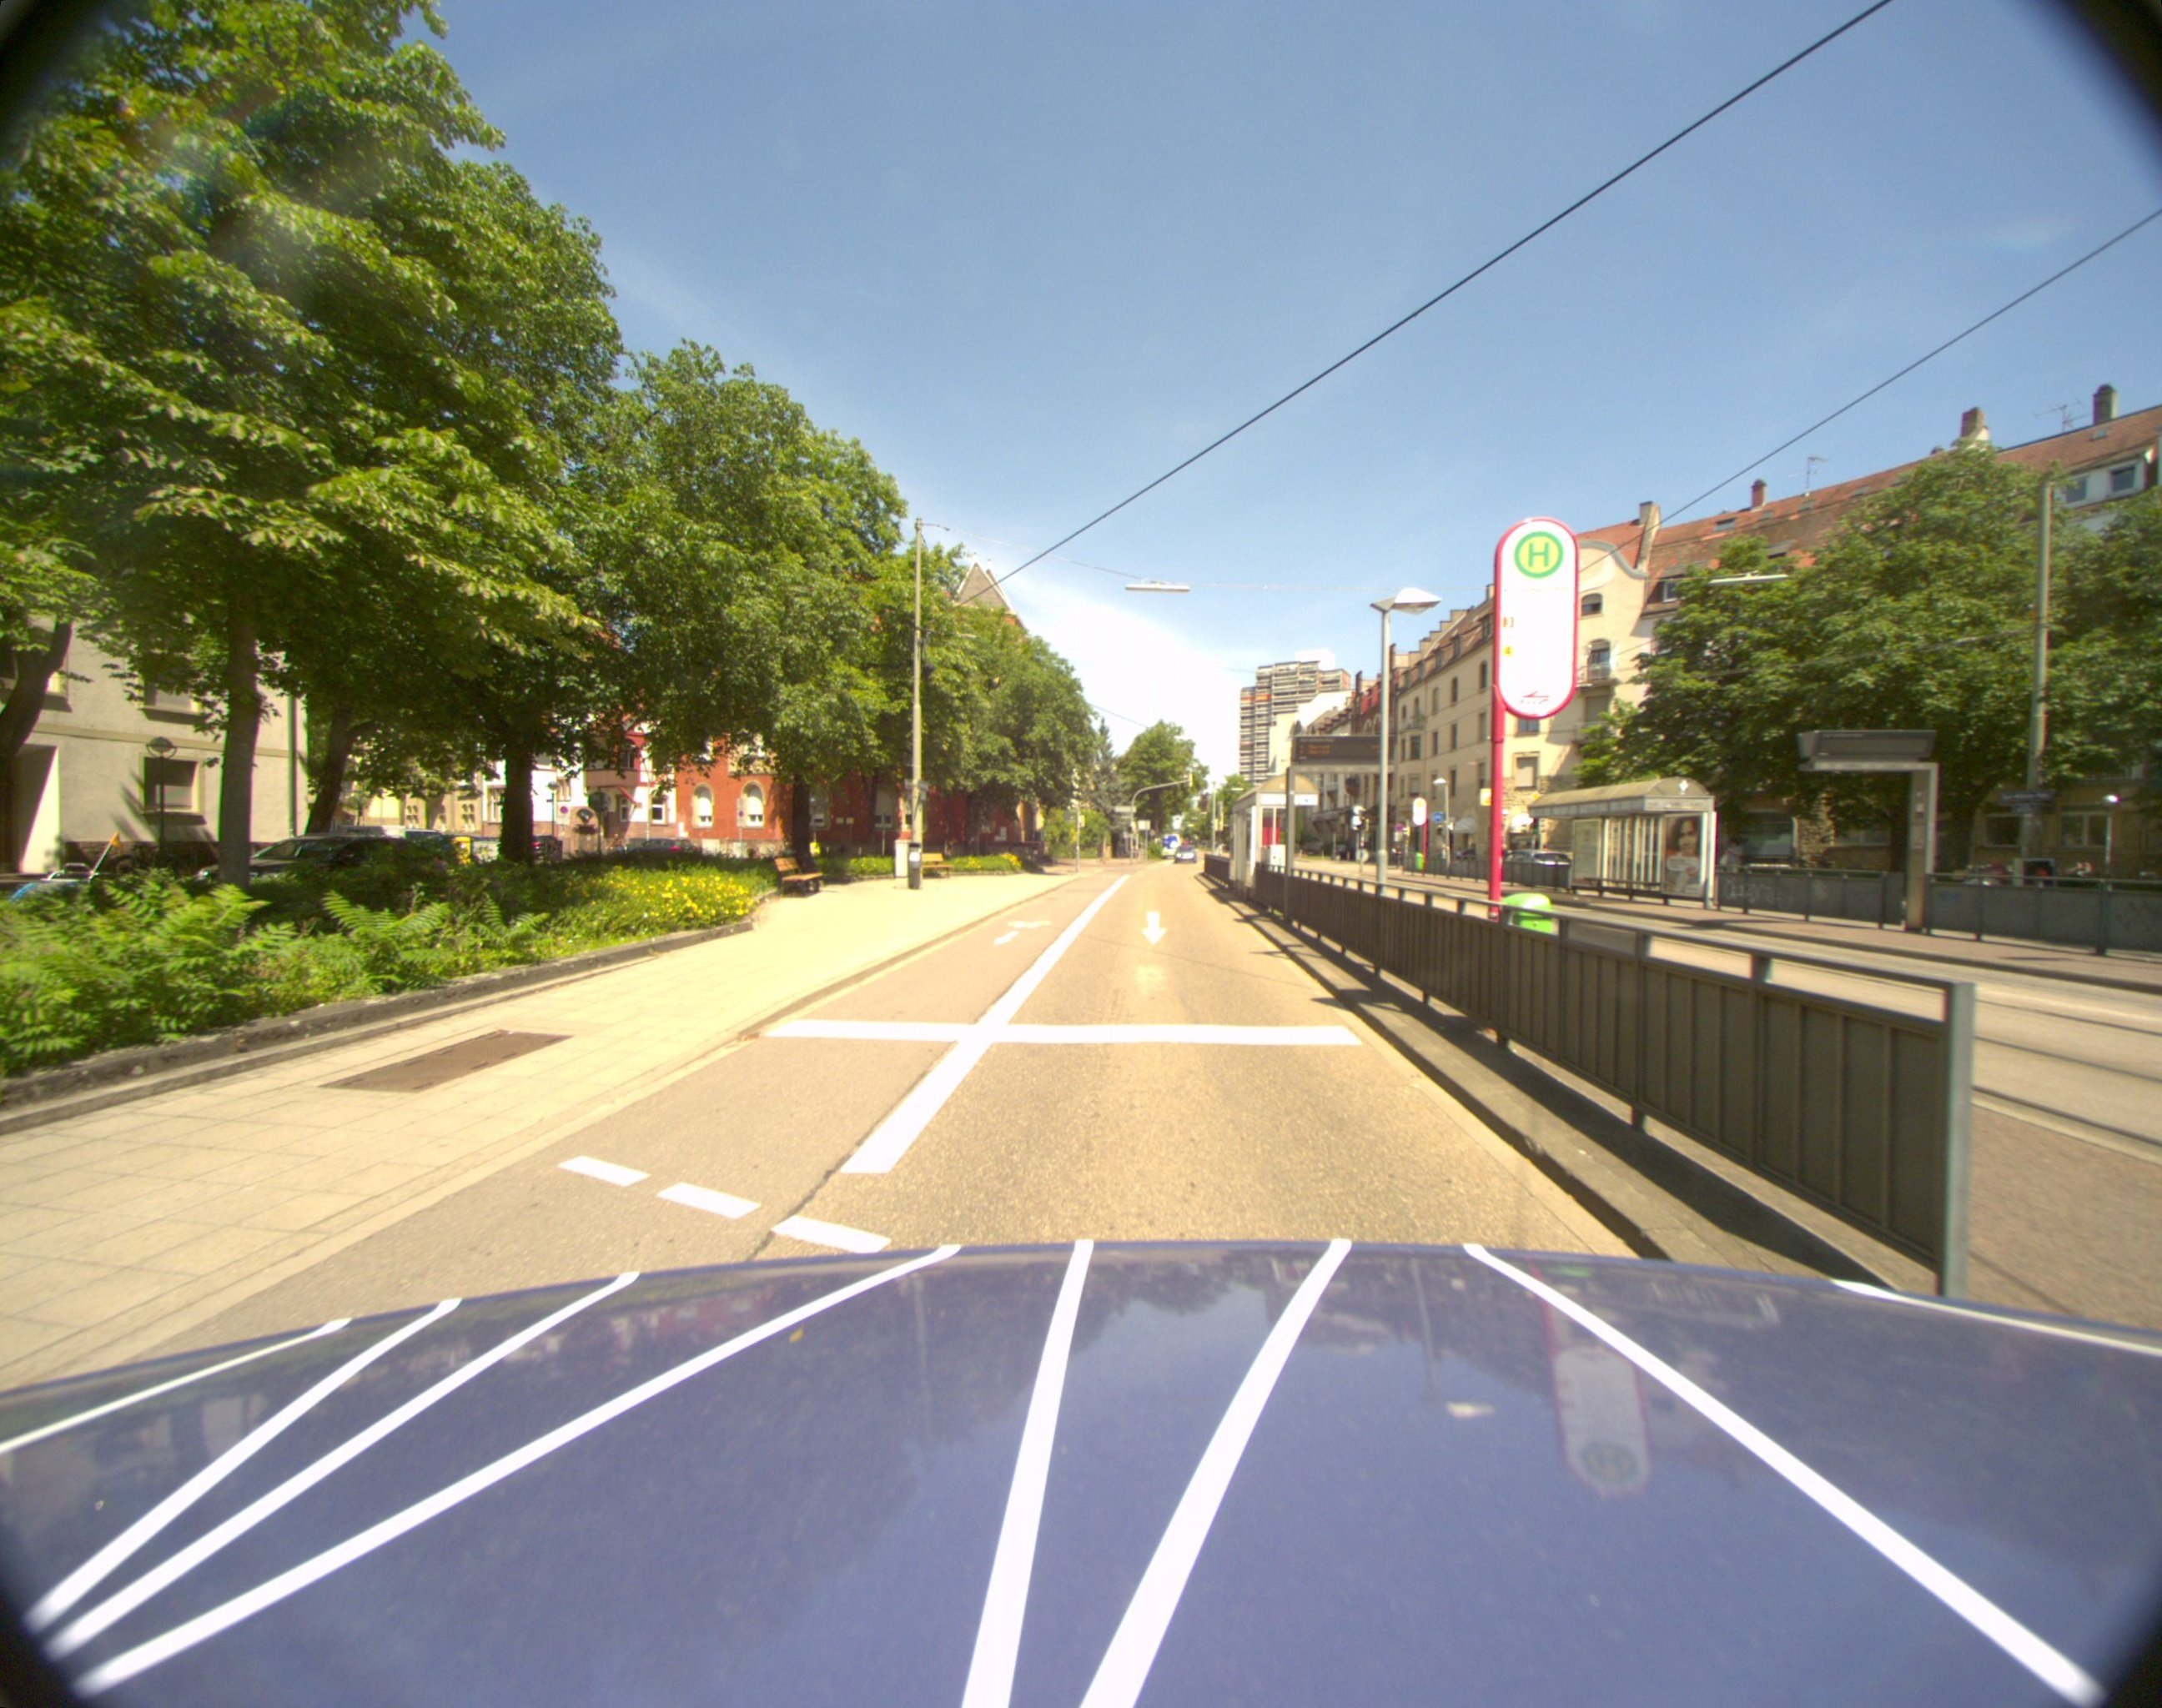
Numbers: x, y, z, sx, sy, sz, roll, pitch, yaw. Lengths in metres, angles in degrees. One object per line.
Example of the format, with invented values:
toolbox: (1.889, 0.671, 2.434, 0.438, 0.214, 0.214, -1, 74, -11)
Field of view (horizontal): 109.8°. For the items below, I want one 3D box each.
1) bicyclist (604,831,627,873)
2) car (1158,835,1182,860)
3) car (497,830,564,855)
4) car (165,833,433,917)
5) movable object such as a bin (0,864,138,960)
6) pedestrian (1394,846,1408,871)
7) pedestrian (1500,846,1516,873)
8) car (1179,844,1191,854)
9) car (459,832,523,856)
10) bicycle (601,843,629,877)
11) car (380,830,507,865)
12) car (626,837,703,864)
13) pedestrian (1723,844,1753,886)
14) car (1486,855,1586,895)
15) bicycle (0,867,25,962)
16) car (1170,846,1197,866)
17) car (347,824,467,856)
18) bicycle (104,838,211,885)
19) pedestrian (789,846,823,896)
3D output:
bicyclist: (-18.348, -0.073, 29.983, 0.641, 1.614, 0.861, 0, 2, -22)
car: (9.351, -0.760, 80.019, 2.236, 2.478, 5.267, 1, 2, 4)
car: (-36.263, -0.762, 50.015, 4.234, 1.554, 1.707, 2, 1, 25)
car: (-16.409, 0.363, 16.301, 1.613, 1.554, 4.065, 1, 1, -2)
movable object such as a bin: (-14.009, 0.738, 10.268, 0.869, 1.148, 1.760, 0, 1, -24)
pedestrian: (22.395, 0.335, 53.182, 0.808, 1.710, 0.764, 2, 2, 21)
pedestrian: (23.650, 0.308, 42.074, 0.537, 1.433, 0.520, 1, 1, -3)
car: (17.817, -0.876, 130.598, 1.736, 1.543, 4.424, 1, 1, 4)
car: (-40.615, -0.671, 52.286, 4.234, 1.554, 1.707, 2, 1, 25)
bicycle: (-18.357, 0.230, 29.975, 0.641, 1.285, 1.927, 0, 1, -22)
car: (-30.147, -0.307, 36.098, 1.640, 1.554, 4.327, 2, 1, 26)
car: (-23.996, -0.226, 43.777, 4.308, 1.444, 1.647, 2, 1, 25)
pedestrian: (23.018, 0.377, 26.644, 0.537, 1.433, 0.520, 1, 1, -4)
car: (17.020, 0.756, 28.631, 1.696, 1.303, 3.849, 1, 1, 5)
bicycle: (-13.290, 0.752, 8.631, 0.682, 1.148, 1.800, 0, 1, -24)
car: (8.204, 0.143, 61.089, 1.736, 1.543, 4.424, 1, 1, 4)
car: (-34.453, -0.696, 38.982, 1.640, 1.554, 4.327, 2, 1, 26)
bicycle: (-24.201, 0.170, 19.967, 0.515, 1.148, 1.933, 1, 1, -3)
pedestrian: (-6.416, 0.393, 17.735, 0.652, 1.143, 0.642, 1, 1, -10)
